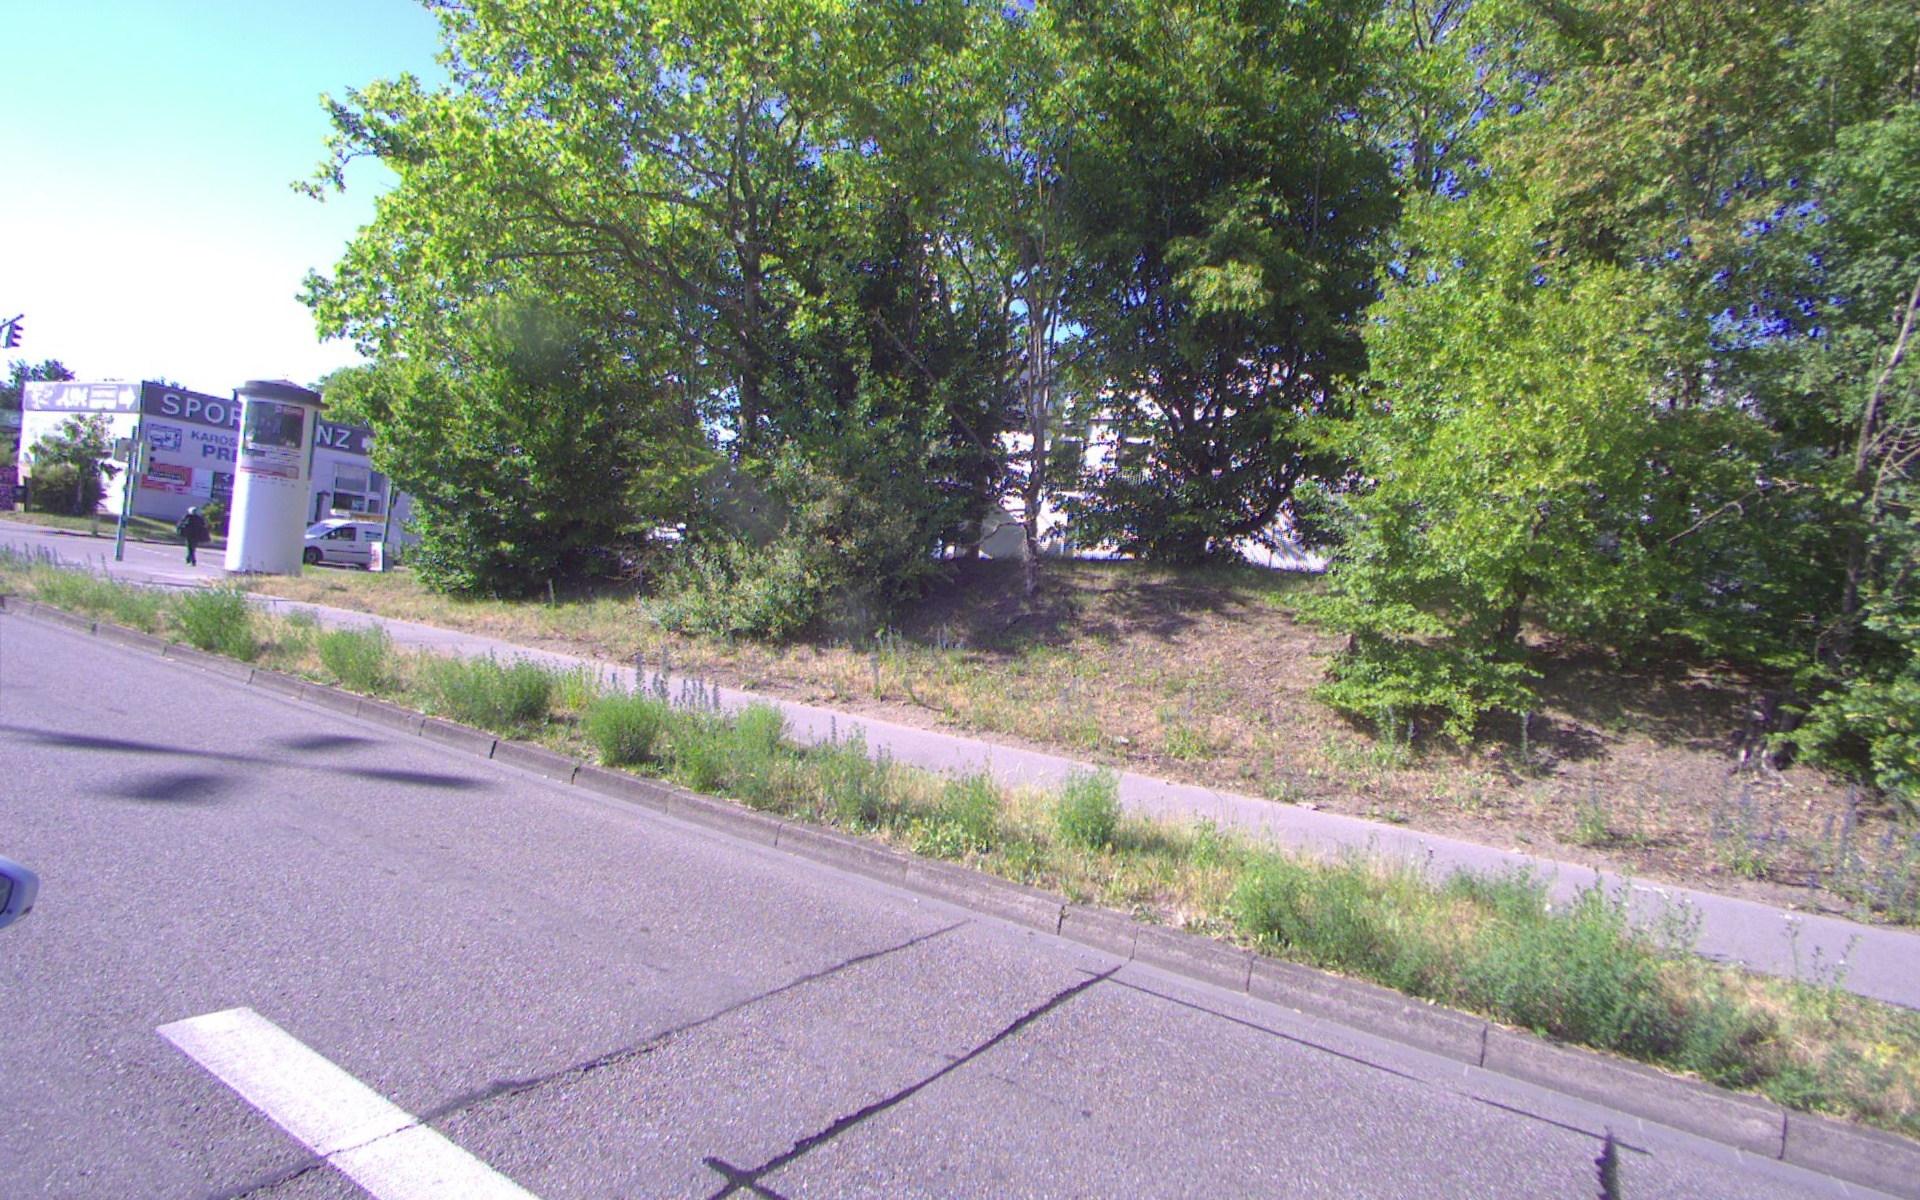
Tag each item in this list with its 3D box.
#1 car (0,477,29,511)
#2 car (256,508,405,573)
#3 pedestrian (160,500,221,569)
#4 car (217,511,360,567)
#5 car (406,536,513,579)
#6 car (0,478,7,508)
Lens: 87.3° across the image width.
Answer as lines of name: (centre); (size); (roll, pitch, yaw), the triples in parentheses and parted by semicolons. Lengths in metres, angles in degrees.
car: (-46.889, -5.224, 47.101); (1.828, 1.472, 4.490); (7, 1, 33)
car: (-23.846, -2.201, 38.270); (1.735, 1.824, 4.387); (9, 1, 30)
pedestrian: (-21.728, -1.838, 28.411); (0.923, 1.755, 0.927); (6, -1, 31)
car: (-26.622, -2.377, 40.018); (1.735, 1.568, 4.292); (9, 1, 30)
car: (-23.002, -1.939, 46.355); (1.752, 1.509, 4.046); (7, 1, 30)
car: (-49.240, -5.491, 48.471); (1.828, 1.472, 4.490); (7, 1, 33)
